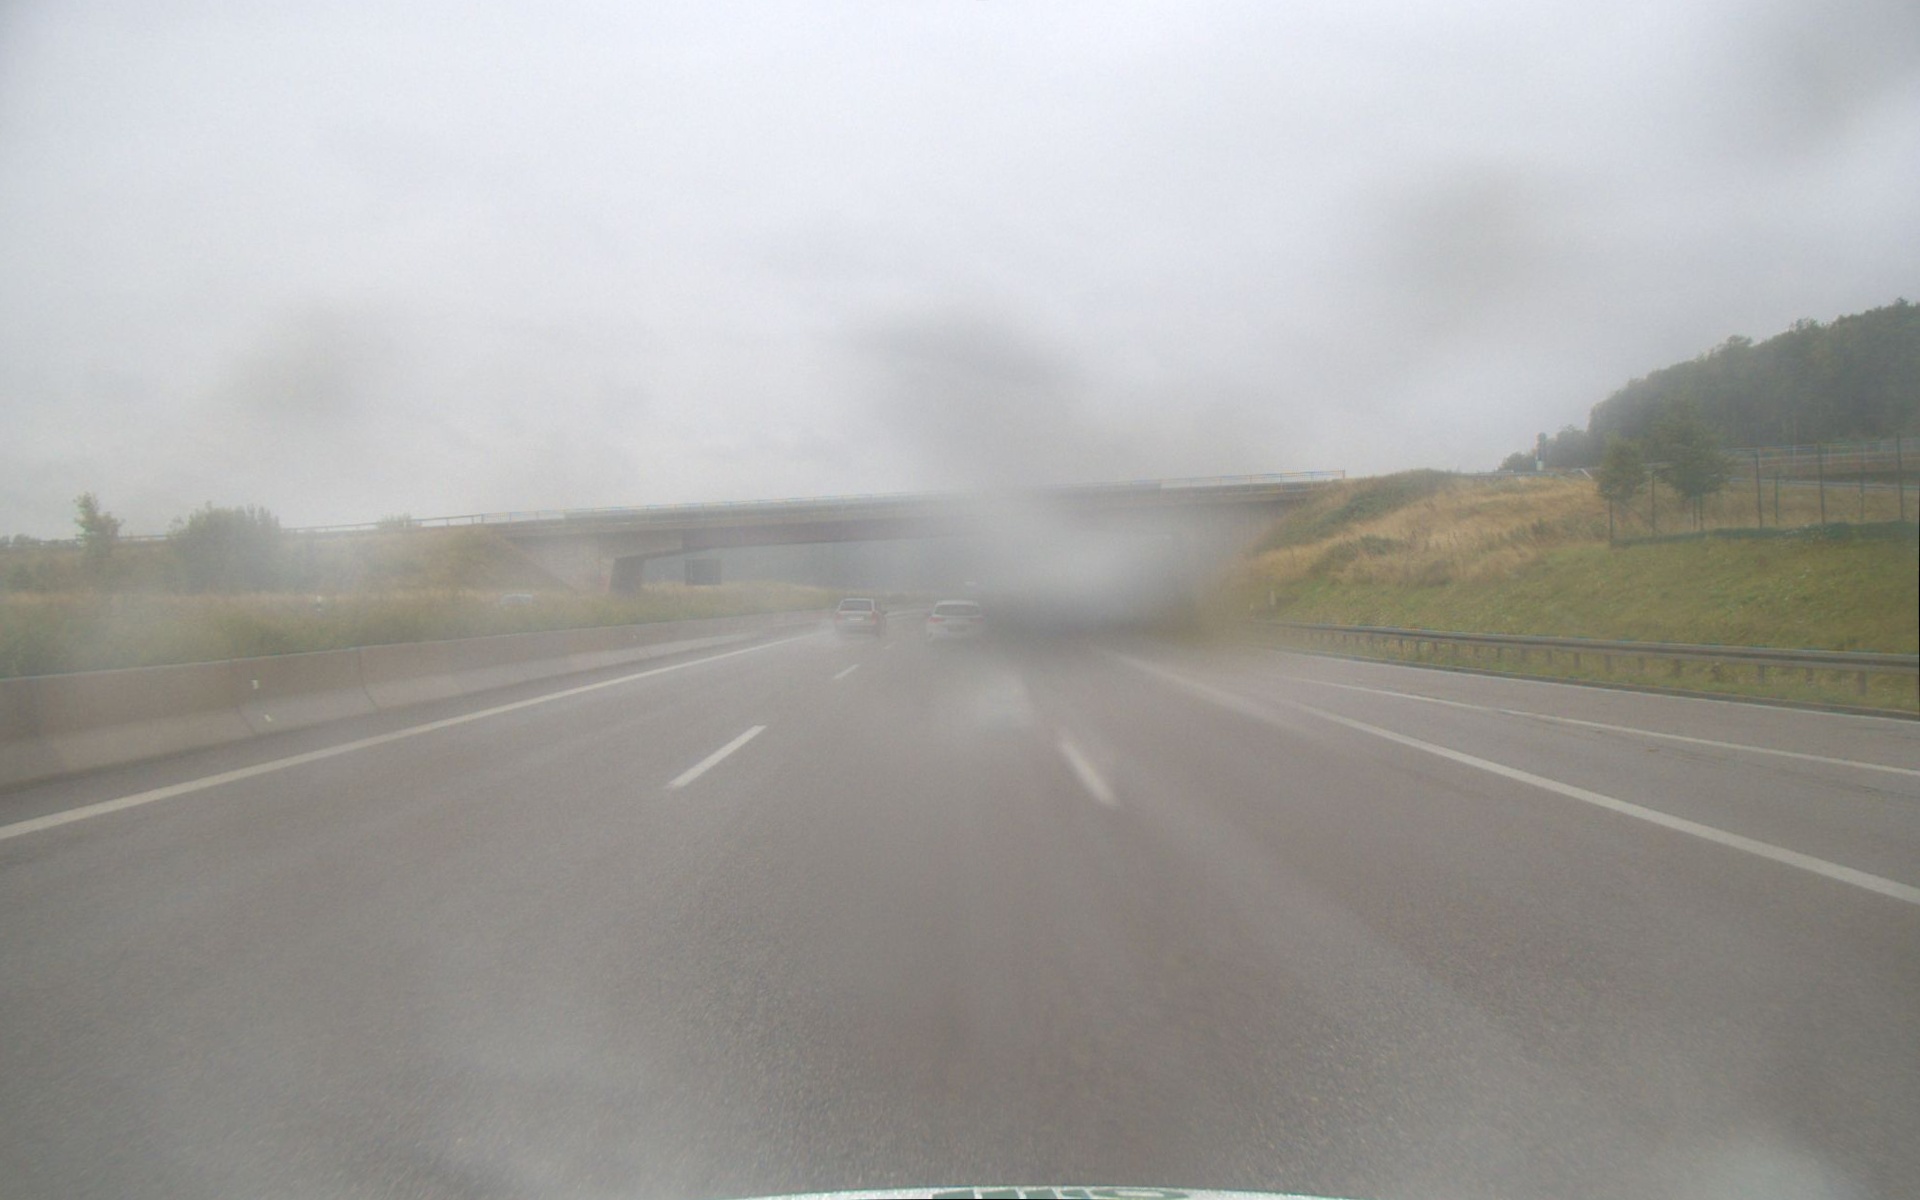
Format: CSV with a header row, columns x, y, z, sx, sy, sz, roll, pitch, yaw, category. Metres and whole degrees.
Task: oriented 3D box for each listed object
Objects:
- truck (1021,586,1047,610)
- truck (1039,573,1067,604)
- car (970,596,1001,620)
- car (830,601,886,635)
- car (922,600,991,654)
x,y,z,sx,sy,sz,roll,pitch,yaw,category
7.272,-0.169,161.757,2.357,2.292,4.696,0,0,5,truck
12.028,-1.516,214.055,3.453,3.808,11.431,1,1,3,truck
1.782,0.540,113.592,1.952,1.646,4.002,0,0,4,car
-3.633,0.662,59.629,1.786,1.177,4.212,1,-1,-1,car
-0.152,0.765,47.517,1.830,1.488,3.998,1,-1,-2,car
